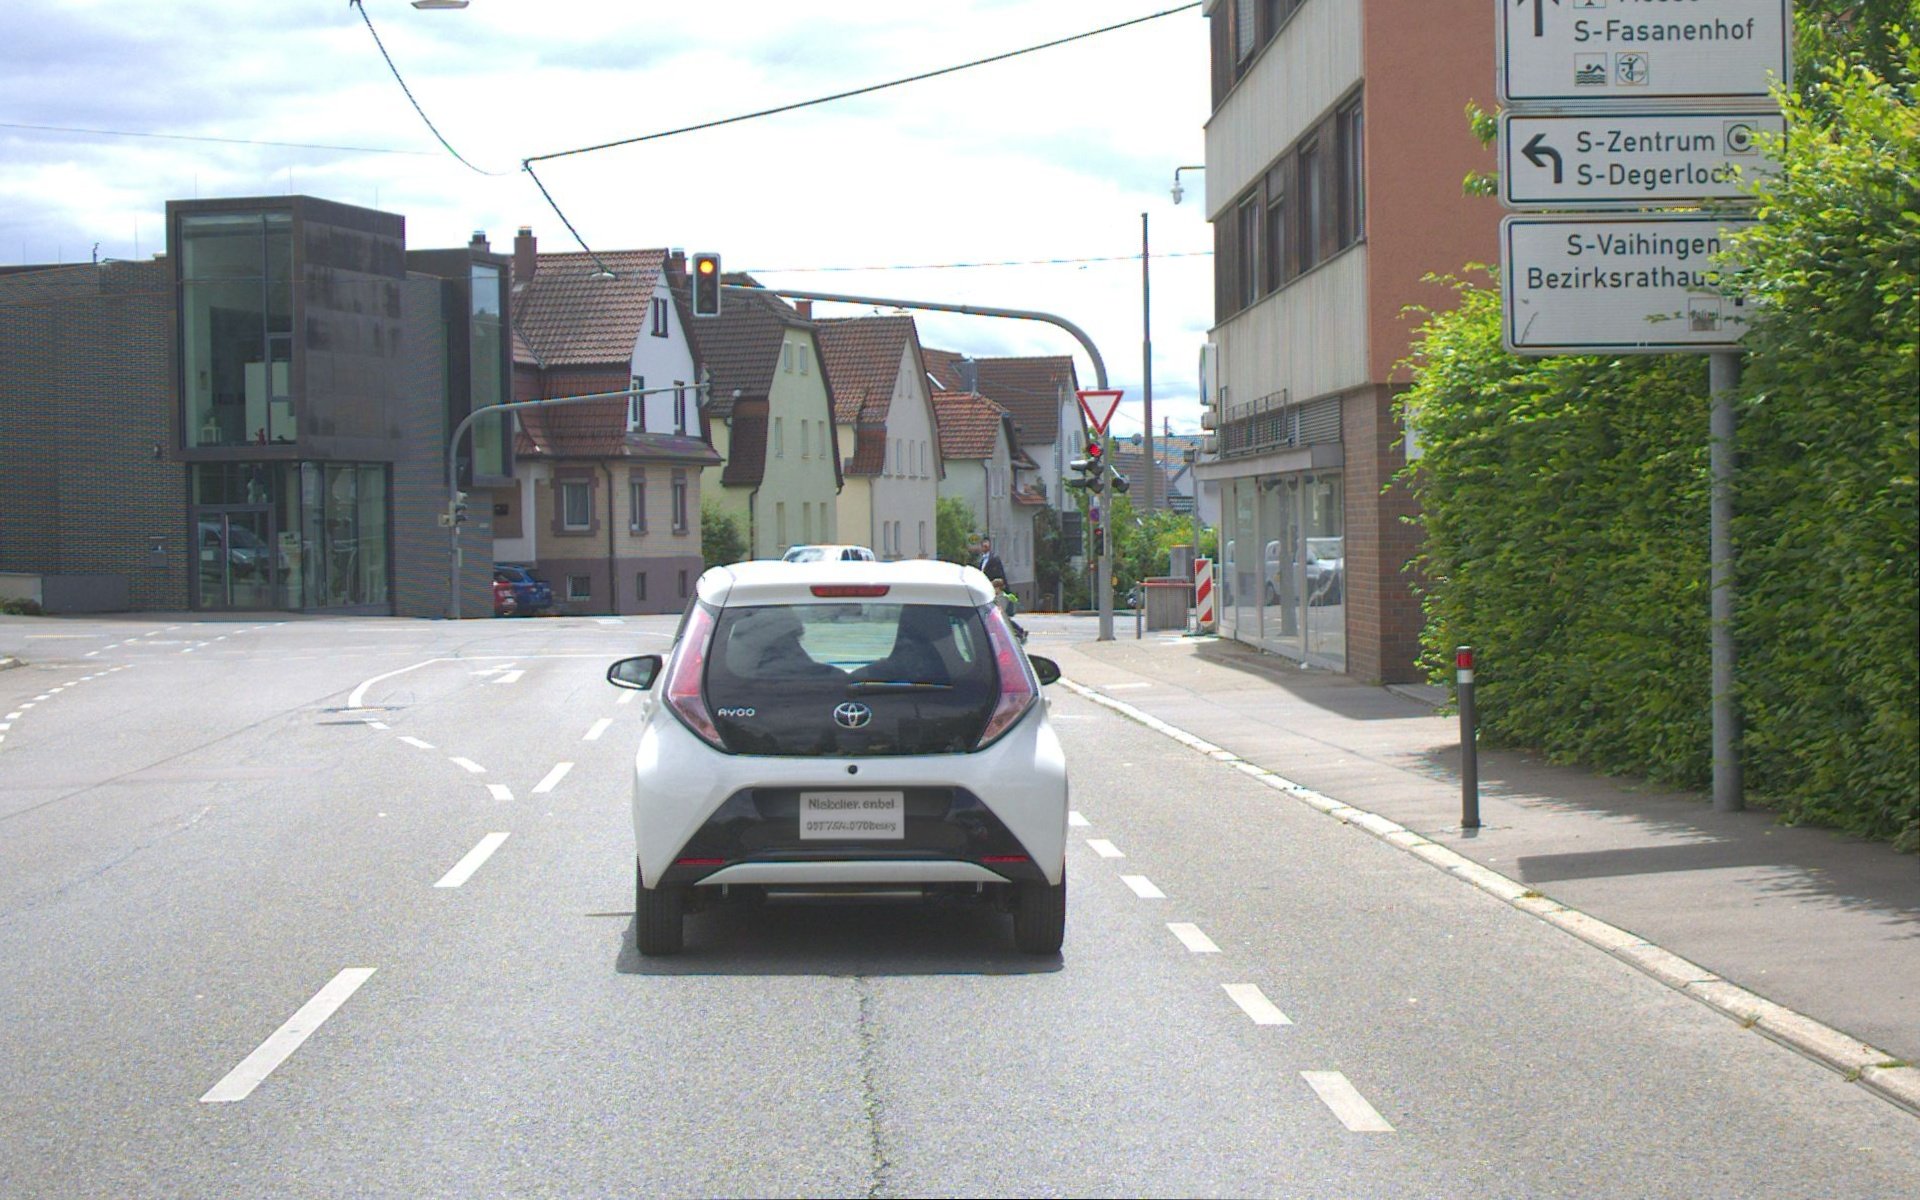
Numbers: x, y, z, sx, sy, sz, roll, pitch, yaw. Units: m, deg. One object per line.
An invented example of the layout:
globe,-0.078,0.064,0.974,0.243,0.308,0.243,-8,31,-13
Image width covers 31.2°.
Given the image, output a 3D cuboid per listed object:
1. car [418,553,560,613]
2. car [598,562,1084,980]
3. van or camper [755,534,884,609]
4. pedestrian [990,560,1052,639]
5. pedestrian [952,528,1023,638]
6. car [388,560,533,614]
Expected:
car,-13.348,-0.484,97.447,3.616,1.600,1.691,1,1,10
car,-0.447,0.588,13.829,1.697,1.451,3.299,1,1,-1
van or camper,-3.734,-0.775,92.463,2.117,1.919,5.282,1,1,13
pedestrian,0.957,-0.012,53.762,0.733,1.217,0.646,-1,1,-30
pedestrian,0.426,-0.276,54.309,0.822,1.715,0.818,-1,1,-28
car,-13.848,-0.376,95.309,3.616,1.414,1.691,1,1,10
